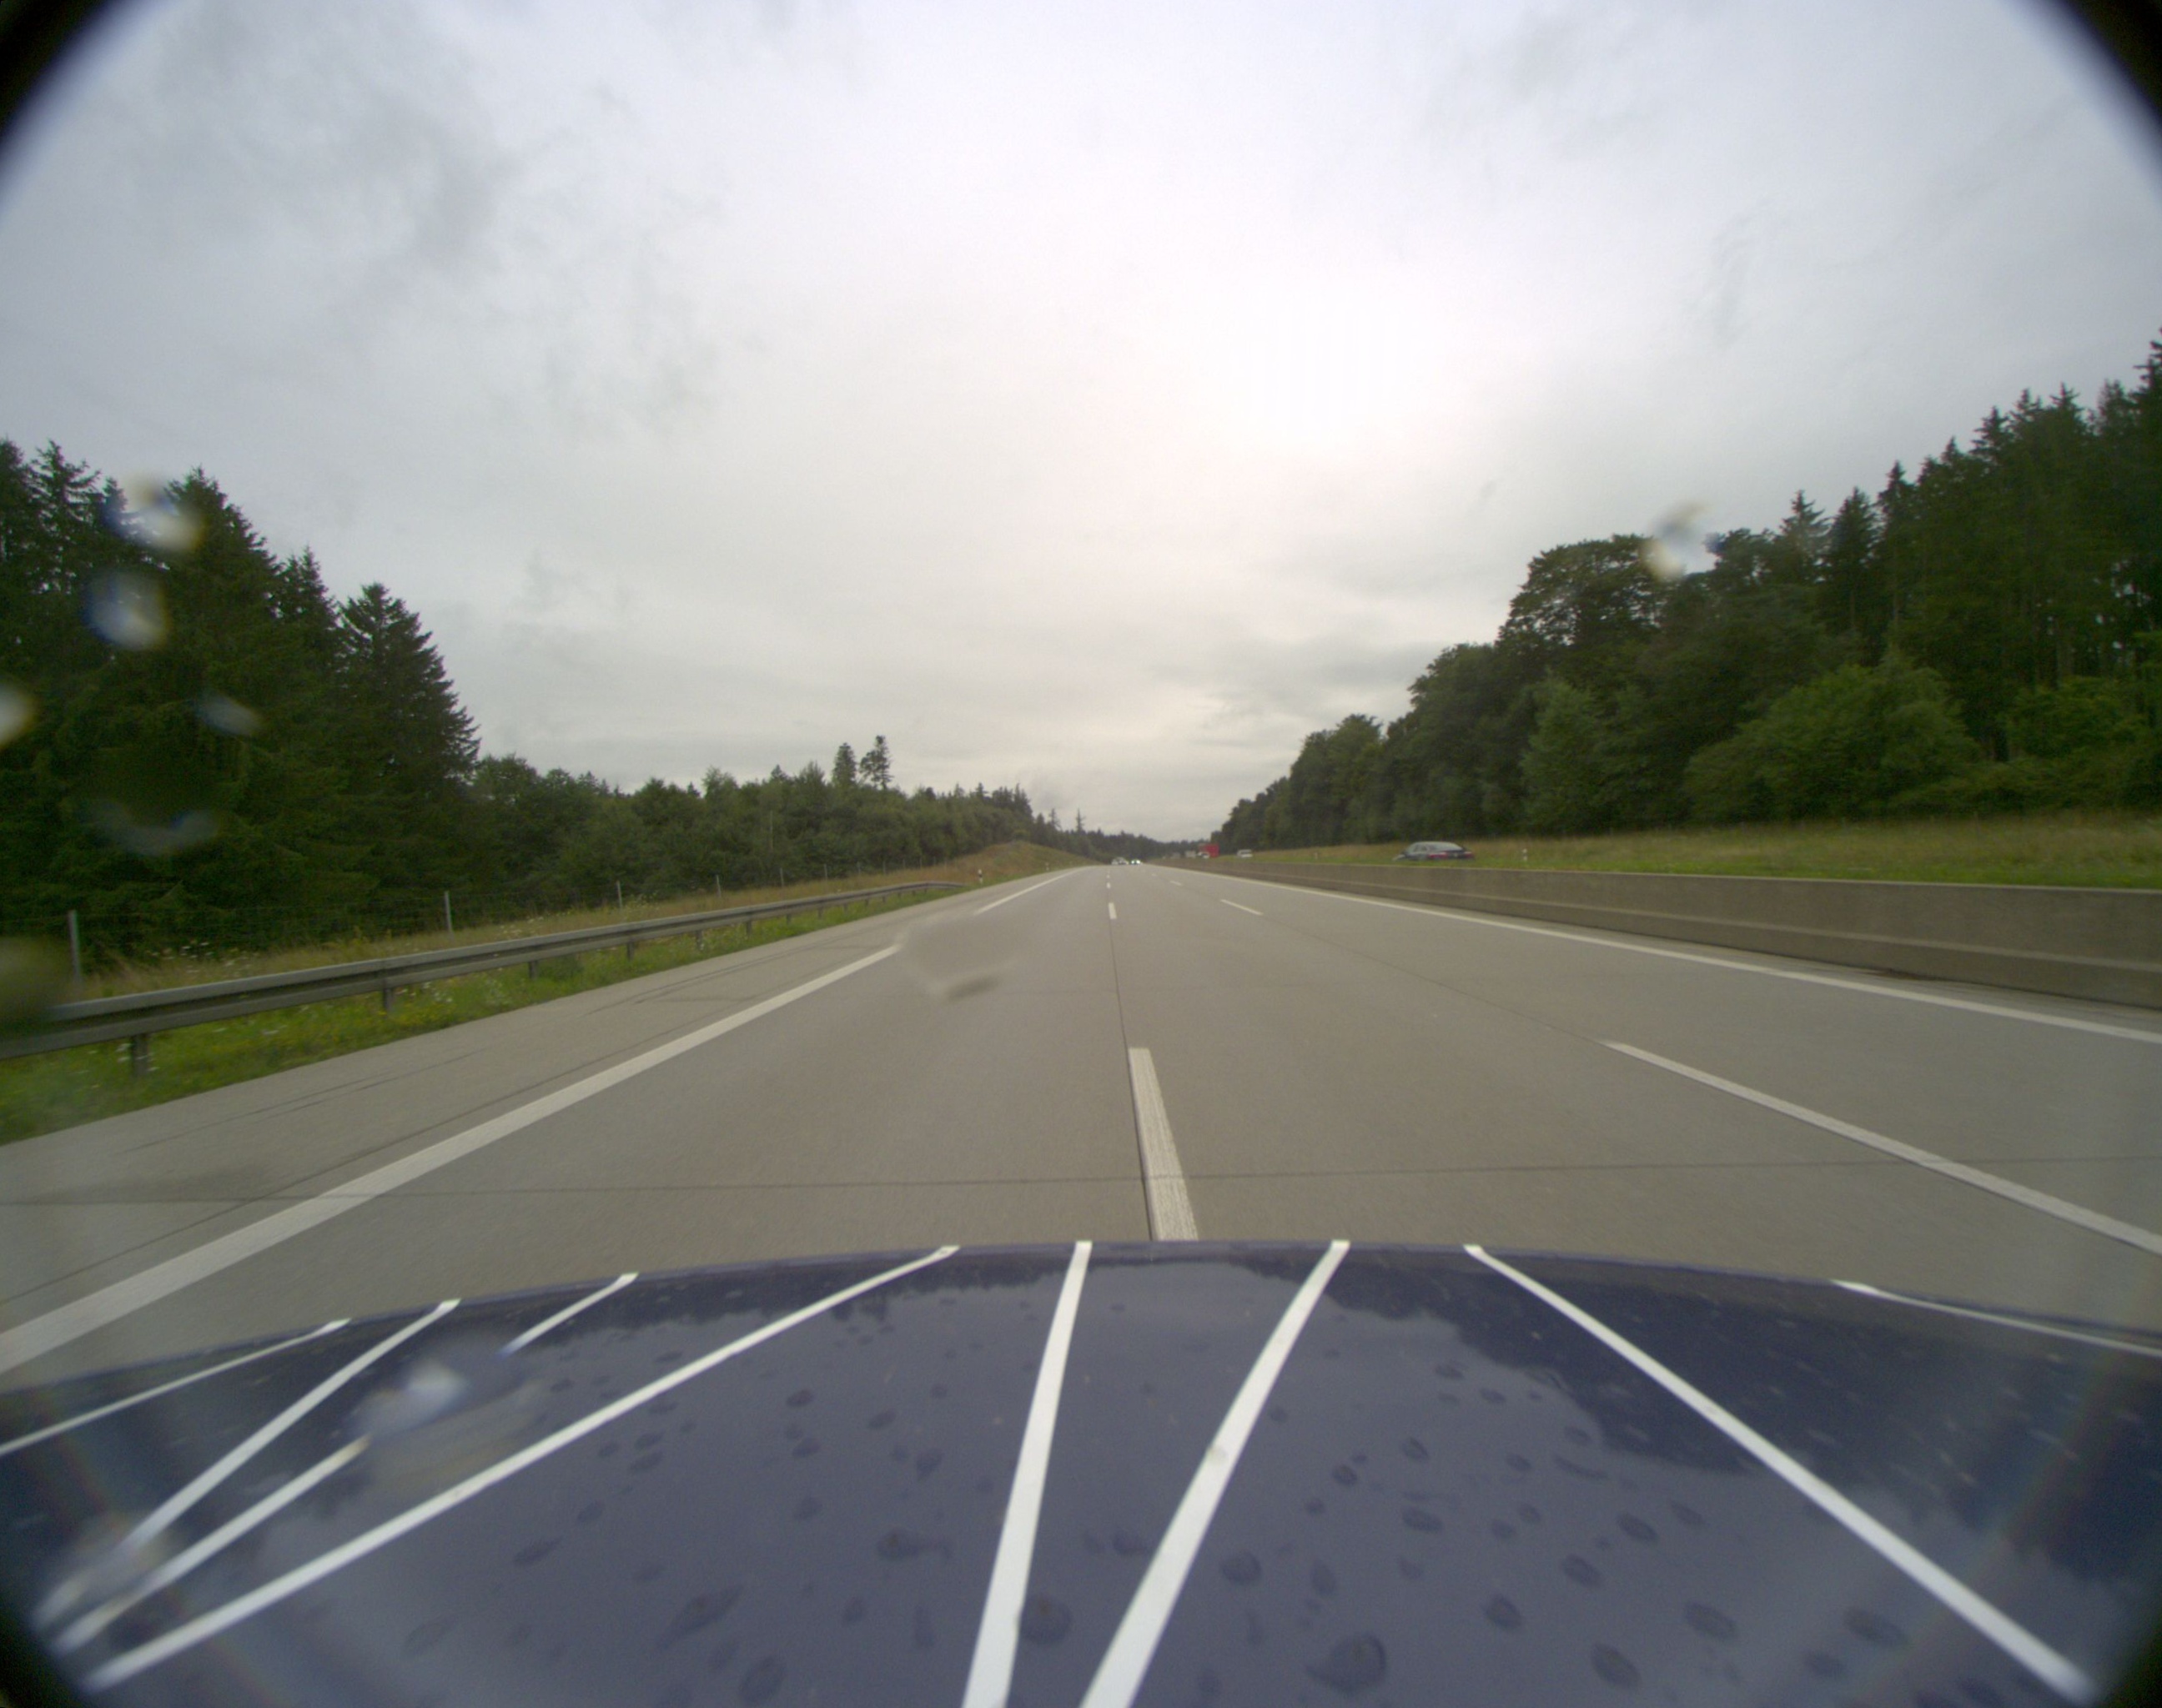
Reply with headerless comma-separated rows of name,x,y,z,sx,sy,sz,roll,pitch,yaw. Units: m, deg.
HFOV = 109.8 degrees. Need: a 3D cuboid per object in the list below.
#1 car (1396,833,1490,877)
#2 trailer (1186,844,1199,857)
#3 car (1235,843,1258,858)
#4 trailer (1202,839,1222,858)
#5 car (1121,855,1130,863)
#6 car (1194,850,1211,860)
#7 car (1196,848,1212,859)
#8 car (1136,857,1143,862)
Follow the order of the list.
car,14.559,0.019,30.810,1.889,1.578,4.000,-2,0,1
trailer,32.901,-0.915,224.905,2.810,3.678,9.014,-2,0,3
car,20.899,-0.437,95.984,1.998,1.789,4.391,-2,0,1
trailer,29.683,-1.180,172.973,2.614,3.920,14.382,-2,0,2
car,12.340,1.484,211.090,2.214,2.001,4.834,-3,-1,0
car,18.951,0.172,118.961,1.998,1.458,4.492,-2,0,1
car,23.074,-0.042,142.498,1.998,1.944,5.626,-2,0,1
car,16.735,1.566,217.755,1.766,1.455,4.002,-2,-2,2
